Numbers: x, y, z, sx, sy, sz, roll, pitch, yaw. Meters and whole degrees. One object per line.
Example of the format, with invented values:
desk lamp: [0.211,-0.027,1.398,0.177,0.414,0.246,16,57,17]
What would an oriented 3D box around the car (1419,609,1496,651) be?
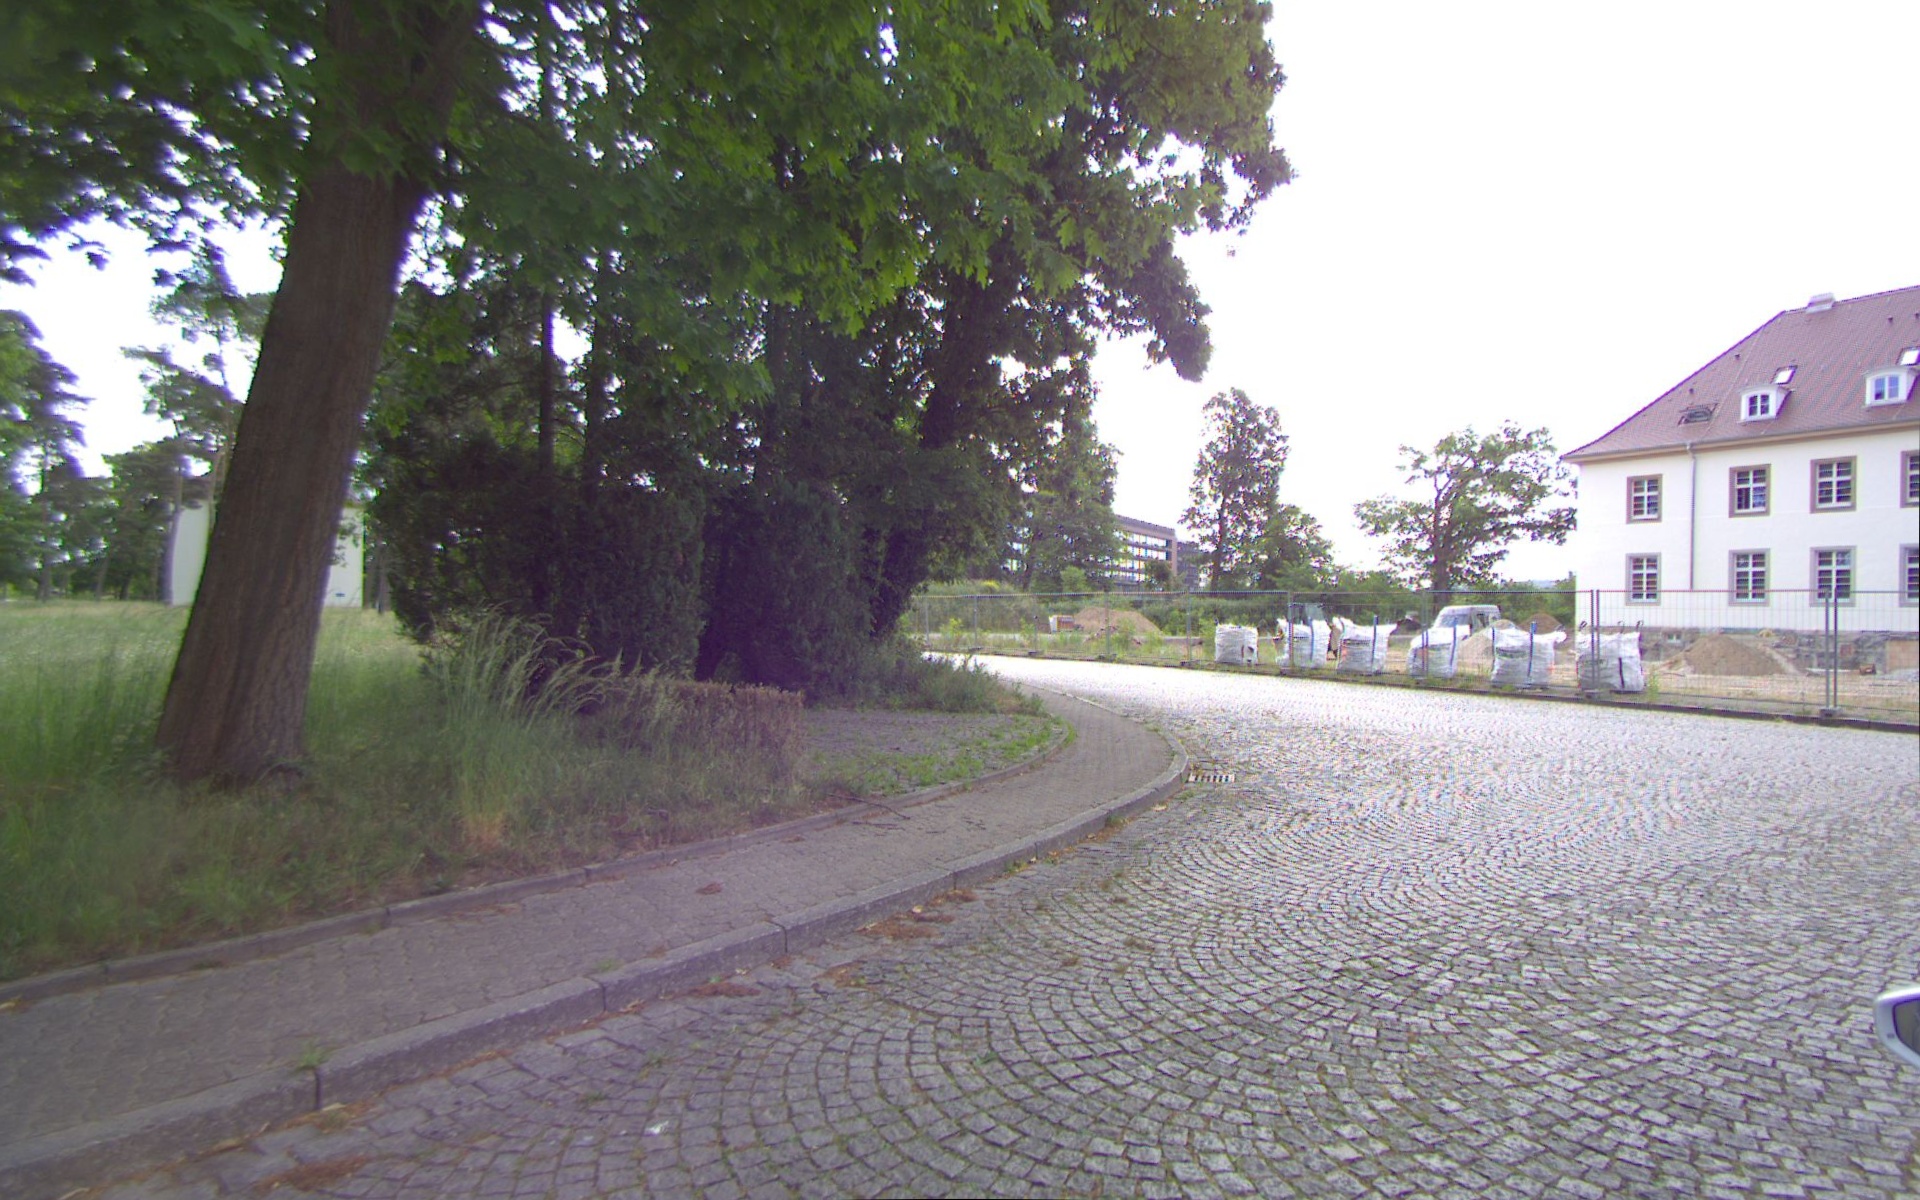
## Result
car: [27.414,1.637,55.307,4.860,2.179,2.049,1,-1,-41]

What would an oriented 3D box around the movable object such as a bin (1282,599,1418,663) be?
movable object such as a bin: [16.768,1.272,43.490,1.980,2.590,5.294,1,-1,-35]
